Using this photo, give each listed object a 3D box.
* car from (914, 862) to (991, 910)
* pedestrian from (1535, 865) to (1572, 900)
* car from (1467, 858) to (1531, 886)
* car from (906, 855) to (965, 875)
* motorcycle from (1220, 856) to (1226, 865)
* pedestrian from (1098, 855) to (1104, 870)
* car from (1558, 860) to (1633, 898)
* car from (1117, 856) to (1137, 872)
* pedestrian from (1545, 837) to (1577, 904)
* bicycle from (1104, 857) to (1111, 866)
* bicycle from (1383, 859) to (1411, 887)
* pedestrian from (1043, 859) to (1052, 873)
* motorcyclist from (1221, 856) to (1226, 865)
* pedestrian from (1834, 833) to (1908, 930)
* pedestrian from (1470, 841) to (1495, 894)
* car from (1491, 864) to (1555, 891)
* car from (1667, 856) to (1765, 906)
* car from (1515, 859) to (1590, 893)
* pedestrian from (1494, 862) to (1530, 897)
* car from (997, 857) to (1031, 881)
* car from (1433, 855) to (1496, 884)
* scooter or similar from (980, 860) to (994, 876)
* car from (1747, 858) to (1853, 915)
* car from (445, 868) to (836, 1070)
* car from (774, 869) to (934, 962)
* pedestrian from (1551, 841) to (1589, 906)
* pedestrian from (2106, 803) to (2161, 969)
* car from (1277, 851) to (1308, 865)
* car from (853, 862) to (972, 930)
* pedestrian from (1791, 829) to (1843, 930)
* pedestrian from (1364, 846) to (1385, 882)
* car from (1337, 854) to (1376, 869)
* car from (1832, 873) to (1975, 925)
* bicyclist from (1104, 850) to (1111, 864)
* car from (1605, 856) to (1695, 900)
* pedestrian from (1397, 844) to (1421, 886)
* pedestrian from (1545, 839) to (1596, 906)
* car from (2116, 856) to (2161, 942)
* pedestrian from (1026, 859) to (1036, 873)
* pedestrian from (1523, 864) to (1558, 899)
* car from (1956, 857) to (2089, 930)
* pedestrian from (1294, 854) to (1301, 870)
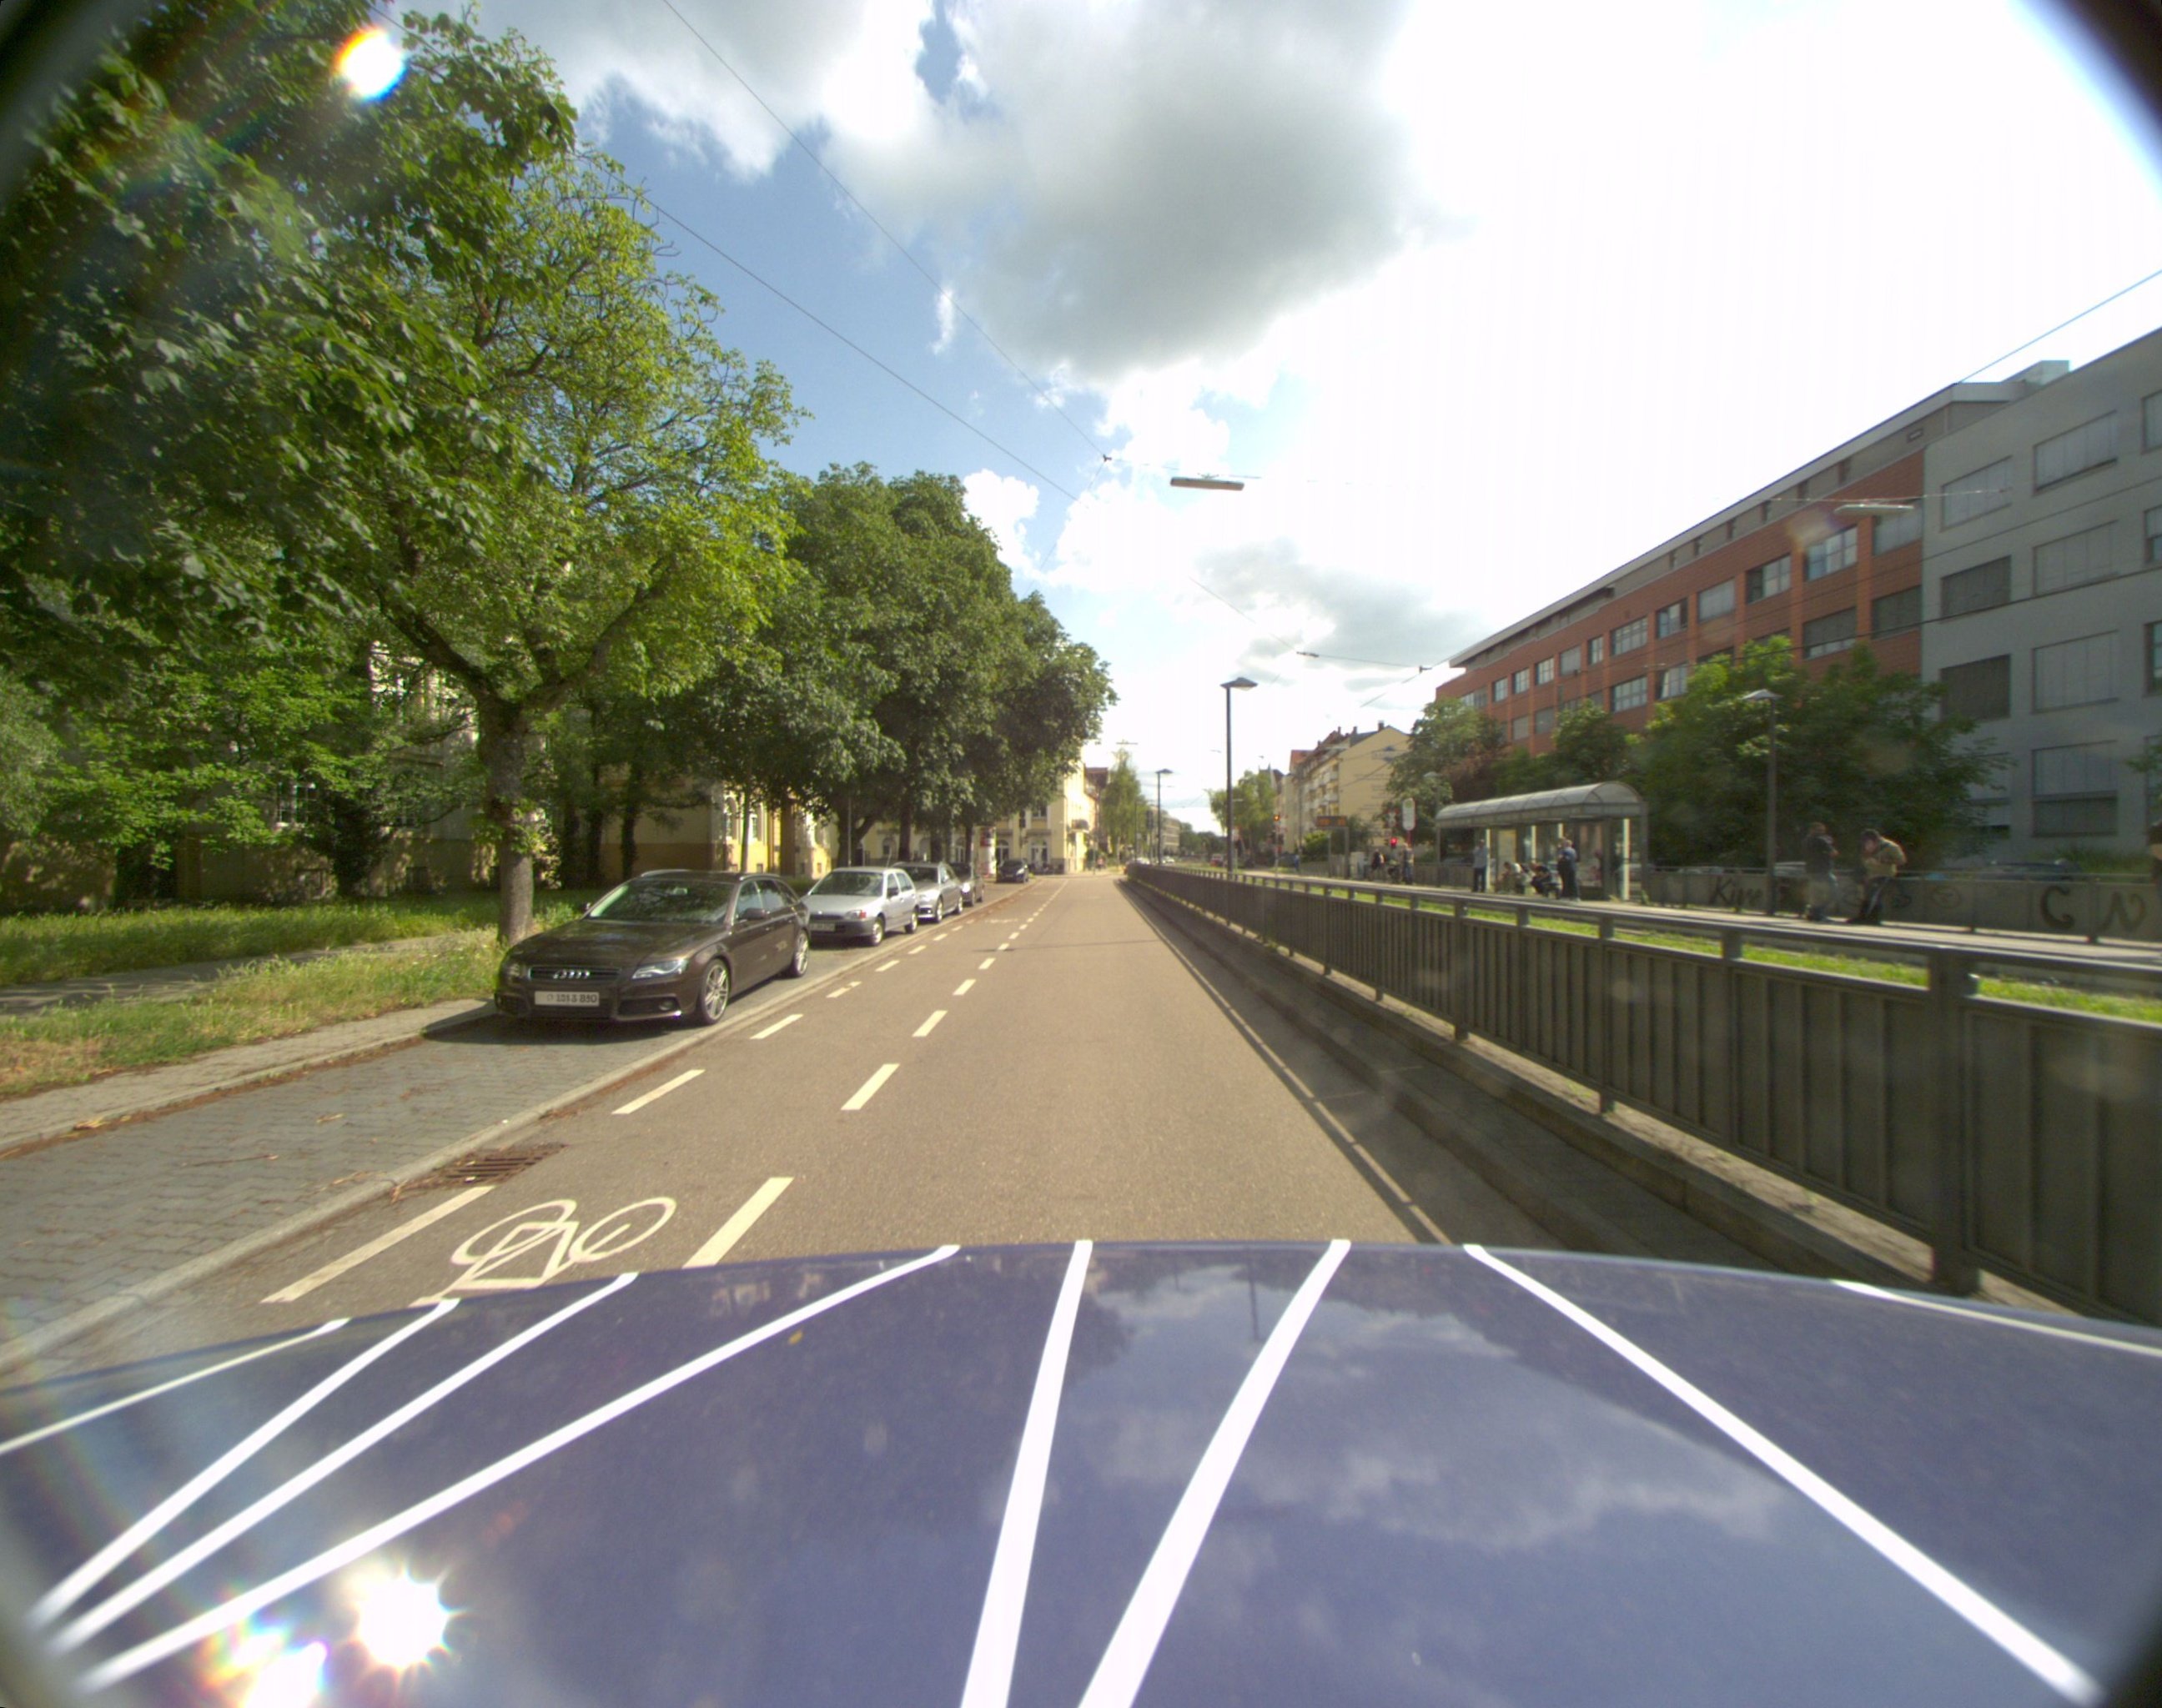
[{"bbox_3d":[-4.329,1.050,26.313,1.833,1.392,4.656,3,0,-1],"label":"car"},{"bbox_3d":[13.764,0.833,22.145,0.706,0.989,0.562,1,1,-2],"label":"pedestrian"},{"bbox_3d":[23.508,0.965,42.692,4.008,1.487,1.646,0,0,-36],"label":"car"},{"bbox_3d":[-13.169,0.993,68.954,4.828,1.646,1.858,0,2,11],"label":"car"},{"bbox_3d":[22.224,1.013,118.870,0.634,1.395,2.010,-2,1,3],"label":"motorcycle"},{"bbox_3d":[2.344,0.965,86.974,0.593,1.622,0.538,3,1,3],"label":"pedestrian"},{"bbox_3d":[22.155,1.022,32.729,3.072,1.402,1.668,-2,3,-35],"label":"car"},{"bbox_3d":[4.596,0.988,76.492,1.790,1.499,4.000,-1,0,1],"label":"car"},{"bbox_3d":[13.262,0.446,20.997,0.444,1.816,0.623,0,1,-2],"label":"pedestrian"},{"bbox_3d":[3.433,0.955,98.330,0.772,1.097,2.570,0,0,-3],"label":"bicycle"},{"bbox_3d":[13.279,0.785,31.991,0.663,1.107,1.878,2,1,9],"label":"bicycle"},{"bbox_3d":[-3.115,1.102,70.802,0.804,1.238,0.892,0,2,3],"label":"pedestrian"},{"bbox_3d":[22.187,1.049,118.655,0.663,1.350,0.693,-2,1,3],"label":"motorcyclist"},{"bbox_3d":[13.777,0.468,13.262,0.608,1.665,0.625,0,1,1],"label":"pedestrian"},{"bbox_3d":[13.229,0.435,25.068,0.487,1.716,0.623,-1,1,-2],"label":"pedestrian"},{"bbox_3d":[22.767,1.157,39.103,3.258,1.296,1.599,0,0,-34],"label":"car"},{"bbox_3d":[22.667,0.938,27.085,4.007,1.520,1.668,-2,0,-35],"label":"car"},{"bbox_3d":[22.373,1.023,36.031,3.317,1.412,1.581,-3,1,-29],"label":"car"},{"bbox_3d":[13.406,0.787,23.648,0.721,1.025,0.623,1,1,-2],"label":"pedestrian"},{"bbox_3d":[-4.091,0.906,47.127,1.689,1.379,3.924,1,1,1],"label":"car"},{"bbox_3d":[22.658,0.888,44.898,3.850,1.649,1.870,0,0,-38],"label":"car"},{"bbox_3d":[-6.951,1.038,56.484,0.414,1.171,1.128,-2,-1,29],"label":"scooter or similar"},{"bbox_3d":[22.853,0.968,24.108,4.007,1.520,1.668,-2,0,-36],"label":"car"},{"bbox_3d":[-4.435,1.009,8.729,1.836,1.458,4.829,2,1,-3],"label":"car"},{"bbox_3d":[-4.176,1.055,14.670,1.639,1.423,4.016,2,0,3],"label":"car"},{"bbox_3d":[12.519,0.494,19.457,0.598,1.623,0.558,0,0,-13],"label":"pedestrian"},{"bbox_3d":[12.595,0.355,8.696,0.752,1.881,0.638,0,3,3],"label":"pedestrian"},{"bbox_3d":[30.708,0.627,110.448,4.255,2.002,2.002,0,0,10],"label":"car"},{"bbox_3d":[-4.212,0.981,19.880,1.833,1.433,5.050,3,0,1],"label":"car"},{"bbox_3d":[13.020,0.435,13.457,0.607,1.744,0.626,1,2,41],"label":"pedestrian"},{"bbox_3d":[14.216,0.477,36.813,0.667,1.689,0.798,0,1,-2],"label":"pedestrian"},{"bbox_3d":[28.800,0.800,79.514,3.608,1.470,1.777,0,-3,8],"label":"car"},{"bbox_3d":[23.290,1.212,21.492,4.005,1.143,1.789,-2,0,-28],"label":"car"},{"bbox_3d":[3.450,0.406,98.159,0.772,1.663,0.951,0,-4,-2],"label":"bicyclist"},{"bbox_3d":[22.874,0.916,30.520,4.008,1.630,1.668,0,2,-35],"label":"car"},{"bbox_3d":[13.731,0.449,31.806,0.640,1.714,0.798,0,1,-2],"label":"pedestrian"},{"bbox_3d":[12.922,0.472,20.083,0.634,1.733,1.036,0,1,-2],"label":"pedestrian"},{"bbox_3d":[22.823,0.887,15.500,4.144,1.630,1.829,0,1,-39],"label":"car"},{"bbox_3d":[-4.650,1.133,70.370,0.804,1.281,0.759,0,2,3],"label":"pedestrian"},{"bbox_3d":[13.801,0.816,22.828,0.655,1.025,0.562,1,1,-2],"label":"pedestrian"},{"bbox_3d":[22.824,0.875,18.395,4.007,1.559,1.605,0,0,-33],"label":"car"},{"bbox_3d":[23.616,0.906,82.721,0.650,1.700,0.481,0,0,2],"label":"pedestrian"}]
